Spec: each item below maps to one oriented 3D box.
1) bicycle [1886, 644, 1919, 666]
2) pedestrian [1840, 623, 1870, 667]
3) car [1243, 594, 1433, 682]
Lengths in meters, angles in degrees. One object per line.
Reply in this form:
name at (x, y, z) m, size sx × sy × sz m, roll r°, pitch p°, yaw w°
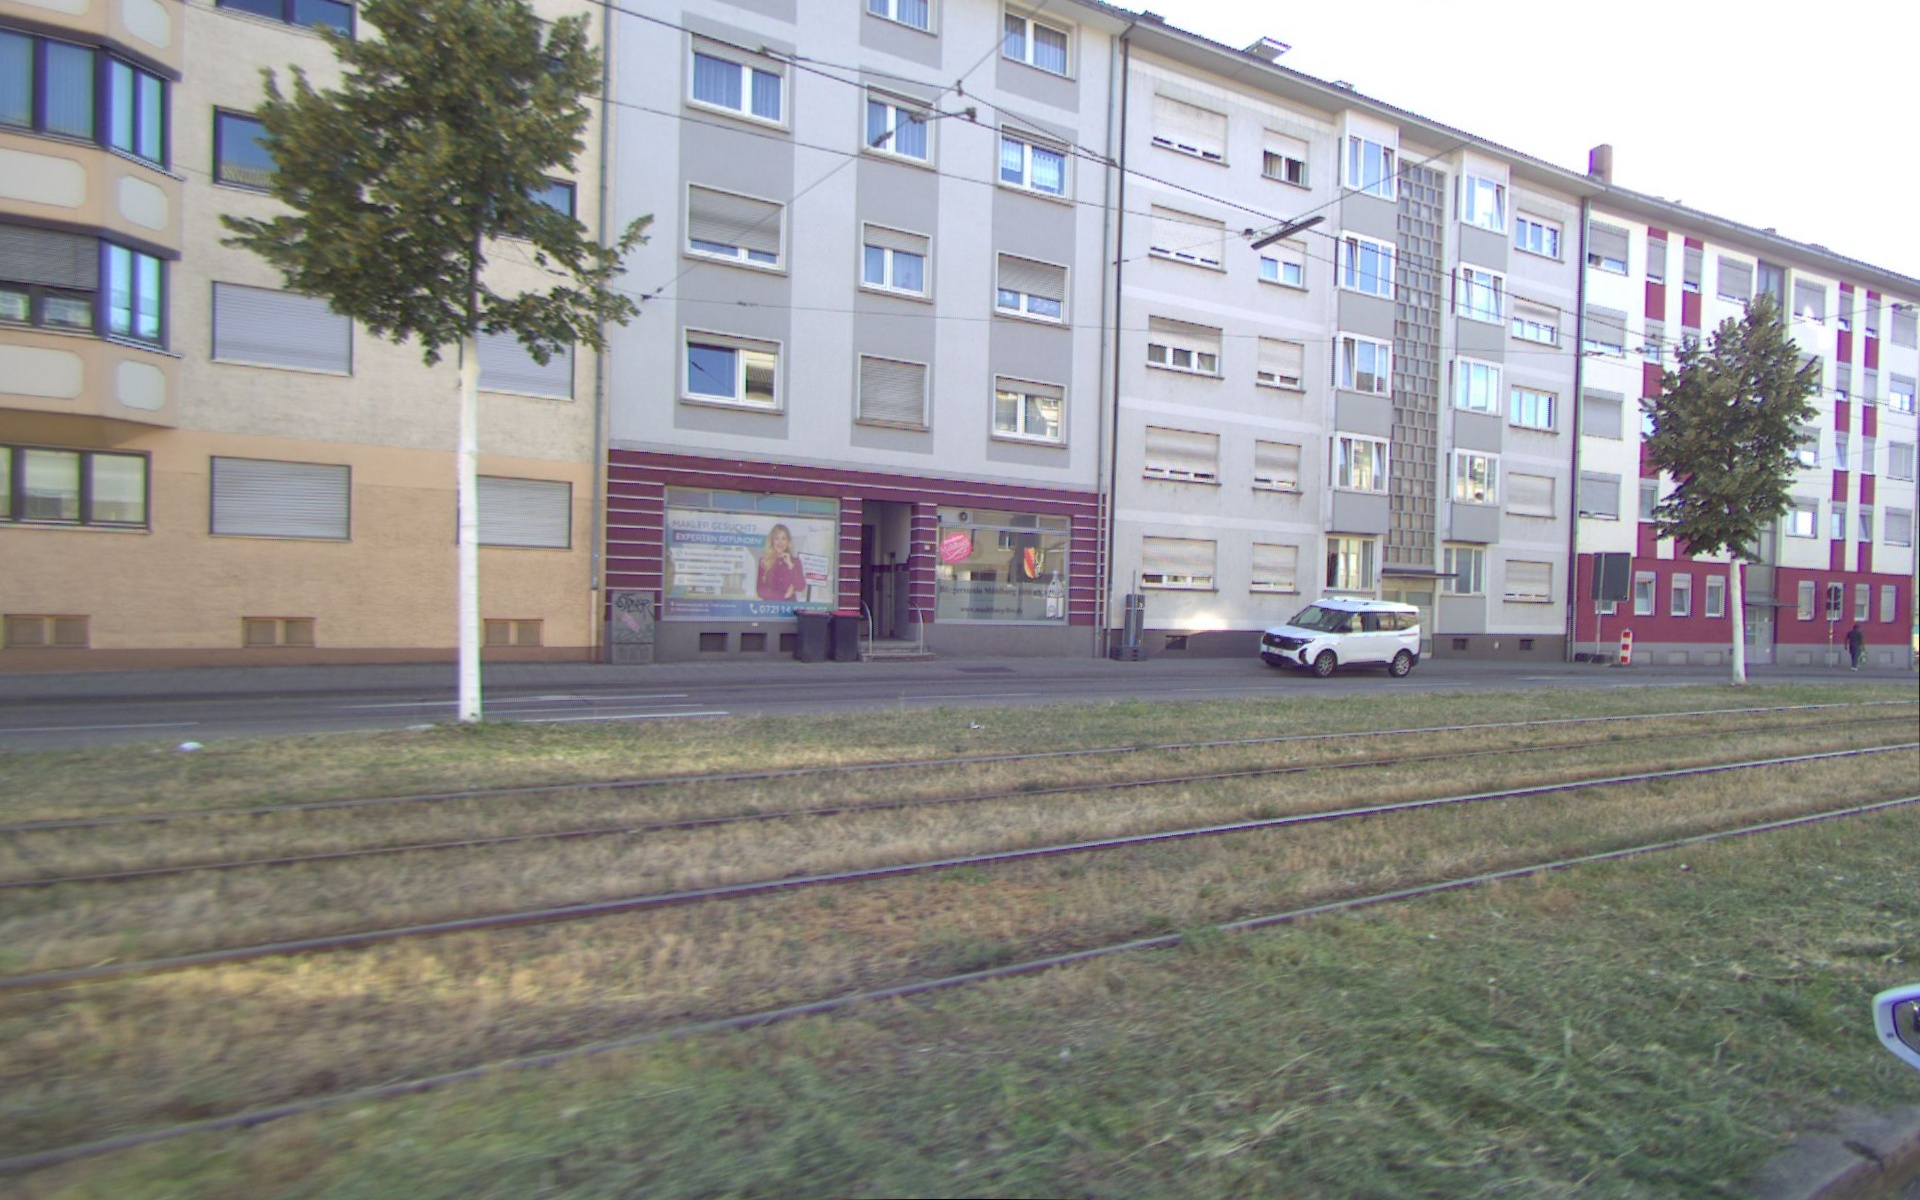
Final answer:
bicycle at (50.053, 2.882, 52.792) m, size 0.598 × 1.090 × 1.941 m, roll 2°, pitch -1°, yaw -36°
pedestrian at (35.503, 1.774, 39.837) m, size 0.781 × 1.712 × 0.611 m, roll 1°, pitch 0°, yaw -25°
car at (9.442, 0.930, 25.075) m, size 4.365 × 1.854 × 1.859 m, roll 2°, pitch 7°, yaw -28°
